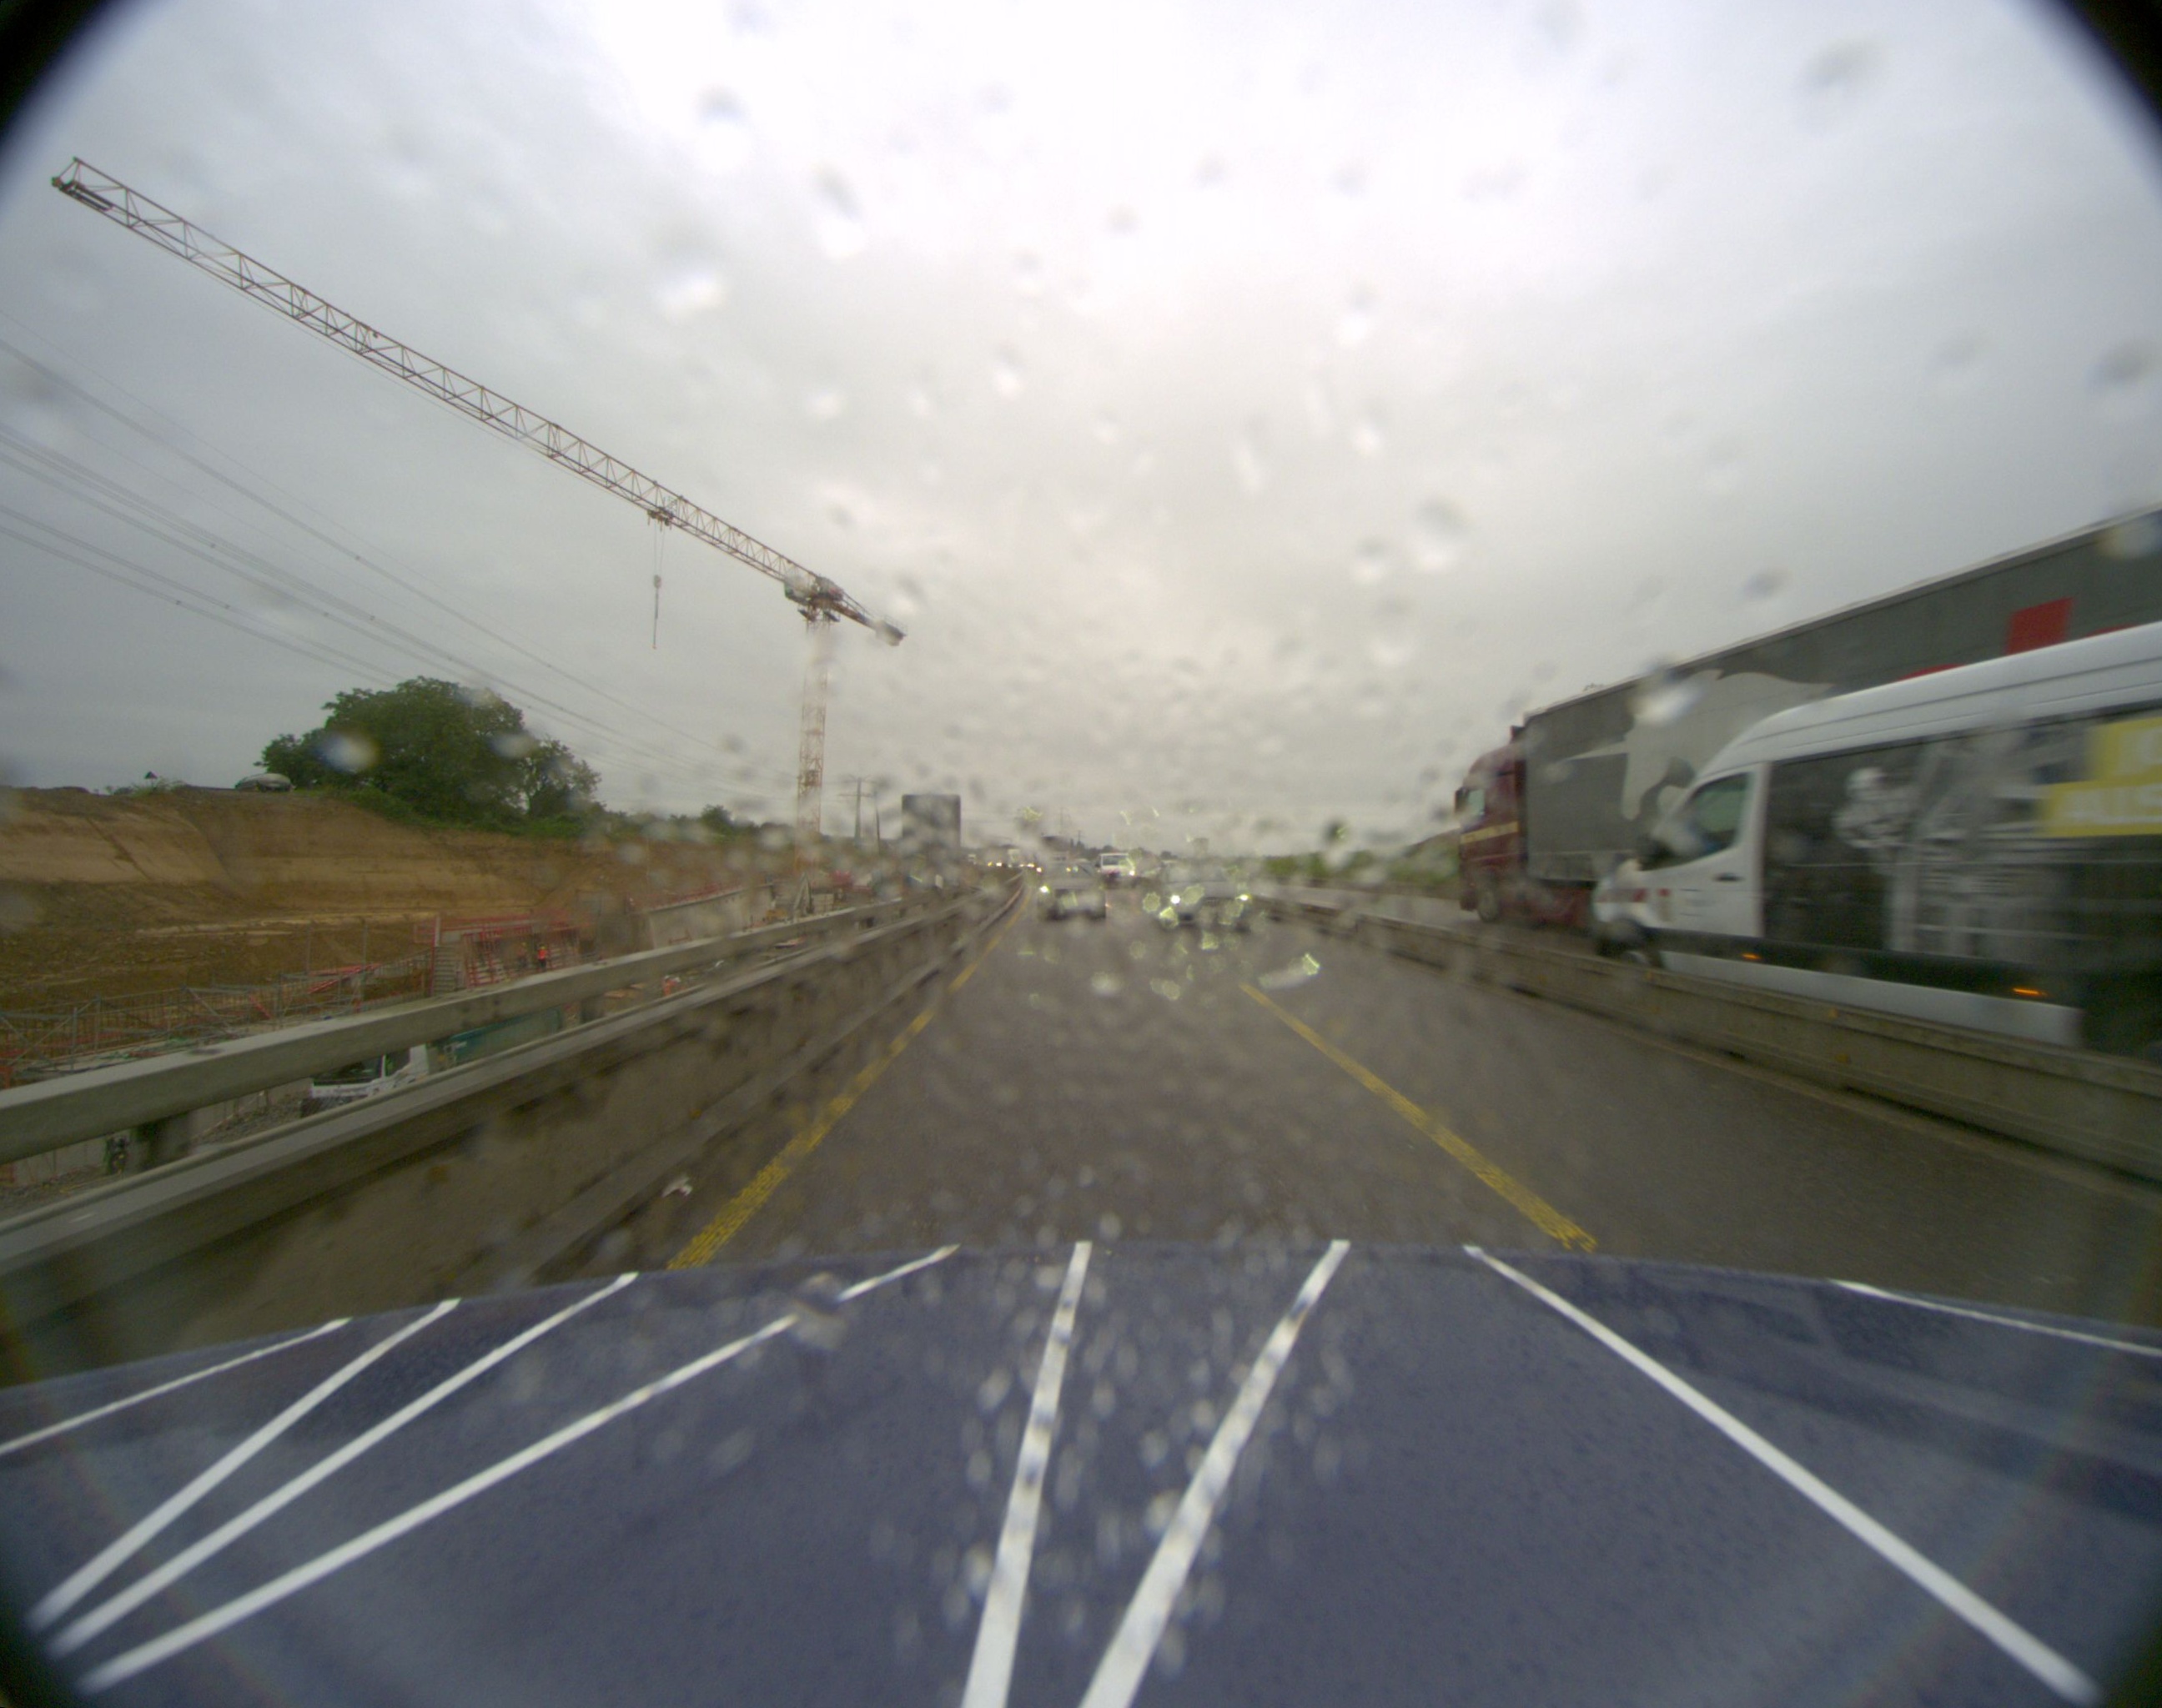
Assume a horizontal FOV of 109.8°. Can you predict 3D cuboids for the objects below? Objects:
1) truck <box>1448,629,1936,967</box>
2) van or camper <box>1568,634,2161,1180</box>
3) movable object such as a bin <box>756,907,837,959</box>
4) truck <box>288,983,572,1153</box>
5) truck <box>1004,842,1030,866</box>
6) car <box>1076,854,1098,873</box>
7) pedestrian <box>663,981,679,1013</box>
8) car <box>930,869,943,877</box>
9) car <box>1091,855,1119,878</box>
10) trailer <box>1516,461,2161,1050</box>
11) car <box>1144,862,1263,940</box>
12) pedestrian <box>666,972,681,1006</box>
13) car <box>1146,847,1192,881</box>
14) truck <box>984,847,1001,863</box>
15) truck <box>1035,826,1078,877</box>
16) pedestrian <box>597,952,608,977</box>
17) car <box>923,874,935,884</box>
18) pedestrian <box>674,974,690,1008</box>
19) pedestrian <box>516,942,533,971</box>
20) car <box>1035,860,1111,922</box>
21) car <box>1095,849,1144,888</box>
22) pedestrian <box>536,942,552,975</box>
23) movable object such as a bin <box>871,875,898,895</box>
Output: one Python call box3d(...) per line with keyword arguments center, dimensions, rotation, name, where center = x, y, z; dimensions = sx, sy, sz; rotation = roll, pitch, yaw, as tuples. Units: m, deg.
box3d(center=(9.641, -0.721, 13.383), dimensions=(2.987, 4.383, 6.931), rotation=(1, 0, 0), name="truck")
box3d(center=(6.299, 0.220, 5.135), dimensions=(2.284, 2.599, 5.828), rotation=(-2, 0, 1), name="van or camper")
box3d(center=(-23.302, 6.436, 62.683), dimensions=(3.515, 3.405, 6.654), rotation=(-1, 2, 6), name="movable object such as a bin")
box3d(center=(-23.536, 7.508, 28.458), dimensions=(2.709, 3.591, 9.072), rotation=(1, 1, 1), name="truck")
box3d(center=(-12.303, 0.031, 145.493), dimensions=(4.320, 4.319, 13.398), rotation=(-2, 0, -7), name="truck")
box3d(center=(0.510, 0.874, 72.255), dimensions=(1.790, 1.744, 3.999), rotation=(-2, 0, -3), name="car")
box3d(center=(-23.556, 8.220, 43.655), dimensions=(0.603, 1.759, 0.481), rotation=(3, 1, -3), name="pedestrian")
box3d(center=(-33.069, 4.377, 173.751), dimensions=(2.351, 1.609, 4.857), rotation=(0, 1, -4), name="car")
box3d(center=(1.661, 0.859, 54.203), dimensions=(1.626, 1.583, 3.999), rotation=(-2, 0, -3), name="car")
box3d(center=(9.574, -0.721, 6.395), dimensions=(3.002, 4.395, 15.703), rotation=(1, 0, 1), name="trailer")
box3d(center=(2.507, 0.924, 16.537), dimensions=(1.805, 1.375, 4.086), rotation=(-1, 1, -2), name="car")
box3d(center=(-24.353, 8.069, 45.381), dimensions=(0.603, 1.894, 0.481), rotation=(2, 1, -3), name="pedestrian")
box3d(center=(5.250, 0.562, 45.835), dimensions=(1.748, 1.494, 4.632), rotation=(-13, 2, -2), name="car")
box3d(center=(-22.496, 0.197, 193.808), dimensions=(3.546, 3.871, 8.332), rotation=(-2, 0, -3), name="truck")
box3d(center=(-1.925, -0.197, 56.170), dimensions=(2.857, 3.462, 8.640), rotation=(-1, 1, -3), name="truck")
box3d(center=(-35.165, 8.114, 55.807), dimensions=(0.489, 1.750, 0.481), rotation=(2, 1, -3), name="pedestrian")
box3d(center=(-29.613, 4.876, 148.248), dimensions=(1.860, 1.609, 4.078), rotation=(0, 1, -4), name="car")
box3d(center=(-23.225, 7.969, 44.263), dimensions=(0.603, 1.894, 0.614), rotation=(1, 1, -3), name="pedestrian")
box3d(center=(-35.614, 6.547, 48.647), dimensions=(0.488, 1.793, 0.583), rotation=(-4, 2, 37), name="pedestrian")
box3d(center=(-0.249, 0.927, 21.015), dimensions=(1.874, 1.481, 4.260), rotation=(-1, 0, -1), name="car")
box3d(center=(1.998, 0.699, 41.160), dimensions=(2.070, 1.933, 5.154), rotation=(-1, 1, -3), name="car")
box3d(center=(-35.502, 6.926, 50.274), dimensions=(0.489, 2.087, 0.481), rotation=(-6, 1, -3), name="pedestrian")
box3d(center=(-32.485, 5.150, 125.801), dimensions=(3.502, 2.865, 3.998), rotation=(5, 0, -3), name="movable object such as a bin")
